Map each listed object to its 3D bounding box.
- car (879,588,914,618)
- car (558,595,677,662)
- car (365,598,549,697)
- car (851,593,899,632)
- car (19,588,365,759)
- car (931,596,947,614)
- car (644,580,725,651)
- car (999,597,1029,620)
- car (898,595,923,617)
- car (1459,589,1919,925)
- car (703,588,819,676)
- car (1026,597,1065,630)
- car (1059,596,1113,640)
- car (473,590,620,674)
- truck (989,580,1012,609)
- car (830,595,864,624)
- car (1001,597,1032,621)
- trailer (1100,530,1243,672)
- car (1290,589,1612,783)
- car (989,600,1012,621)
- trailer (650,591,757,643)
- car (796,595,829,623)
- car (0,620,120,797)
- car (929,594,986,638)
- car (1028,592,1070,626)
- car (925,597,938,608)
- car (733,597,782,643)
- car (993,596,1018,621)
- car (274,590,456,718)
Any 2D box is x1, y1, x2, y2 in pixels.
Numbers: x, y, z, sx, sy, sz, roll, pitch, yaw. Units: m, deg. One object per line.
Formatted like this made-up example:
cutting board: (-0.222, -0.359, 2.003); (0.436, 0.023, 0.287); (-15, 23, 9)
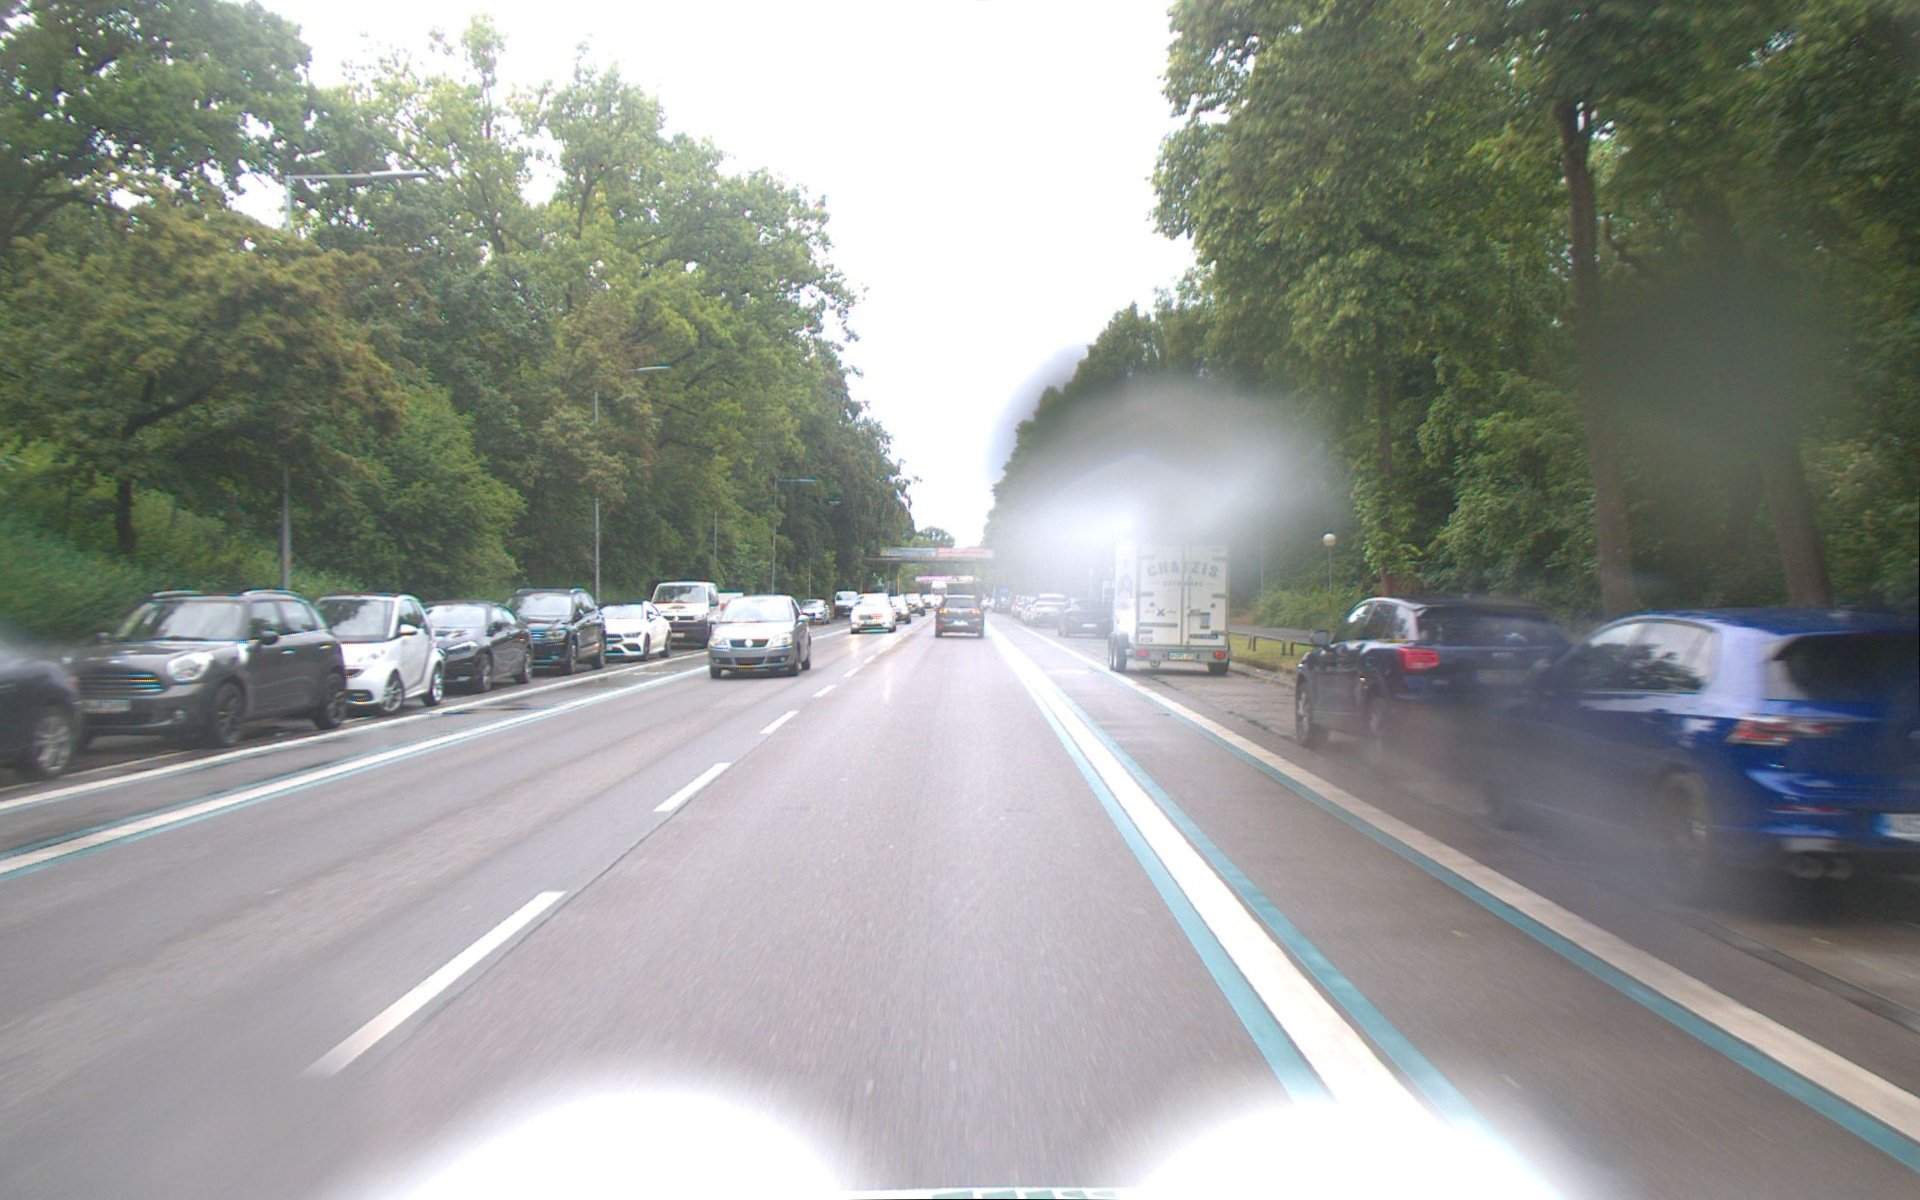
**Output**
car: (-3.417, 0.153, 89.586); (1.671, 1.599, 4.000); (0, 0, 0)
car: (-8.234, 0.654, 40.148); (1.953, 1.514, 4.468); (0, 0, 0)
car: (-8.250, 0.724, 27.532); (1.771, 1.514, 4.467); (0, 0, -1)
car: (-3.434, 0.499, 67.509); (1.798, 1.544, 3.999); (0, 0, -1)
car: (-7.984, 0.684, 17.656); (1.661, 1.611, 4.140); (0, 0, 2)
car: (-2.689, 0.595, 212.616); (1.953, 2.049, 3.999); (-1, -3, 0)
car: (-8.358, 0.440, 50.525); (1.901, 2.049, 4.737); (0, 0, -3)
car: (3.791, 0.590, 116.348); (1.953, 1.590, 4.000); (0, 0, 0)
car: (-3.714, 0.425, 124.755); (1.671, 1.599, 4.000); (0, 0, 0)
car: (4.419, 0.704, 9.651); (1.647, 1.507, 4.318); (1, 0, -1)
car: (-3.652, 0.545, 30.972); (1.664, 1.511, 4.035); (-1, 0, 0)
car: (4.405, 0.684, 85.615); (1.858, 1.634, 4.000); (0, 0, 0)
car: (4.645, 0.643, 61.290); (1.686, 1.552, 4.000); (0, 0, 0)
car: (-8.325, 0.600, 33.701); (1.841, 1.589, 4.468); (0, 0, 0)
truck: (3.810, -0.517, 155.921); (2.069, 2.644, 4.301); (0, 0, 0)
car: (-8.211, 0.689, 120.606); (2.114, 2.049, 5.031); (0, 0, 1)
car: (3.817, 0.568, 111.523); (1.953, 1.590, 4.000); (0, 0, 0)
trailer: (4.076, 0.015, 32.517); (2.089, 2.605, 4.295); (0, 0, -3)
car: (4.303, 0.679, 15.142); (1.678, 1.539, 3.975); (0, 0, -2)
car: (3.634, 0.950, 147.767); (1.953, 1.803, 4.000); (-1, -1, 0)
trailer: (-8.575, 0.540, 55.513); (1.595, 1.657, 3.665); (0, 0, 30)
car: (-8.507, 0.501, 95.516); (1.638, 1.540, 3.629); (1, 0, -1)
car: (-8.165, 0.841, 12.248); (1.661, 1.323, 4.193); (0, 0, 2)
car: (-0.127, 0.600, 58.624); (1.834, 1.466, 4.294); (2, -1, -2)
car: (4.324, 0.418, 81.000); (1.858, 1.634, 4.000); (0, 0, 0)
car: (-3.053, 0.311, 176.715); (1.350, 1.150, 3.313); (0, 0, -1)
car: (-8.229, 0.795, 67.347); (1.543, 1.801, 3.415); (0, 0, 0)
car: (3.805, 0.748, 139.630); (1.953, 2.049, 3.999); (0, 0, -1)
car: (-7.913, 0.669, 22.232); (1.431, 1.598, 2.983); (0, 0, -1)
